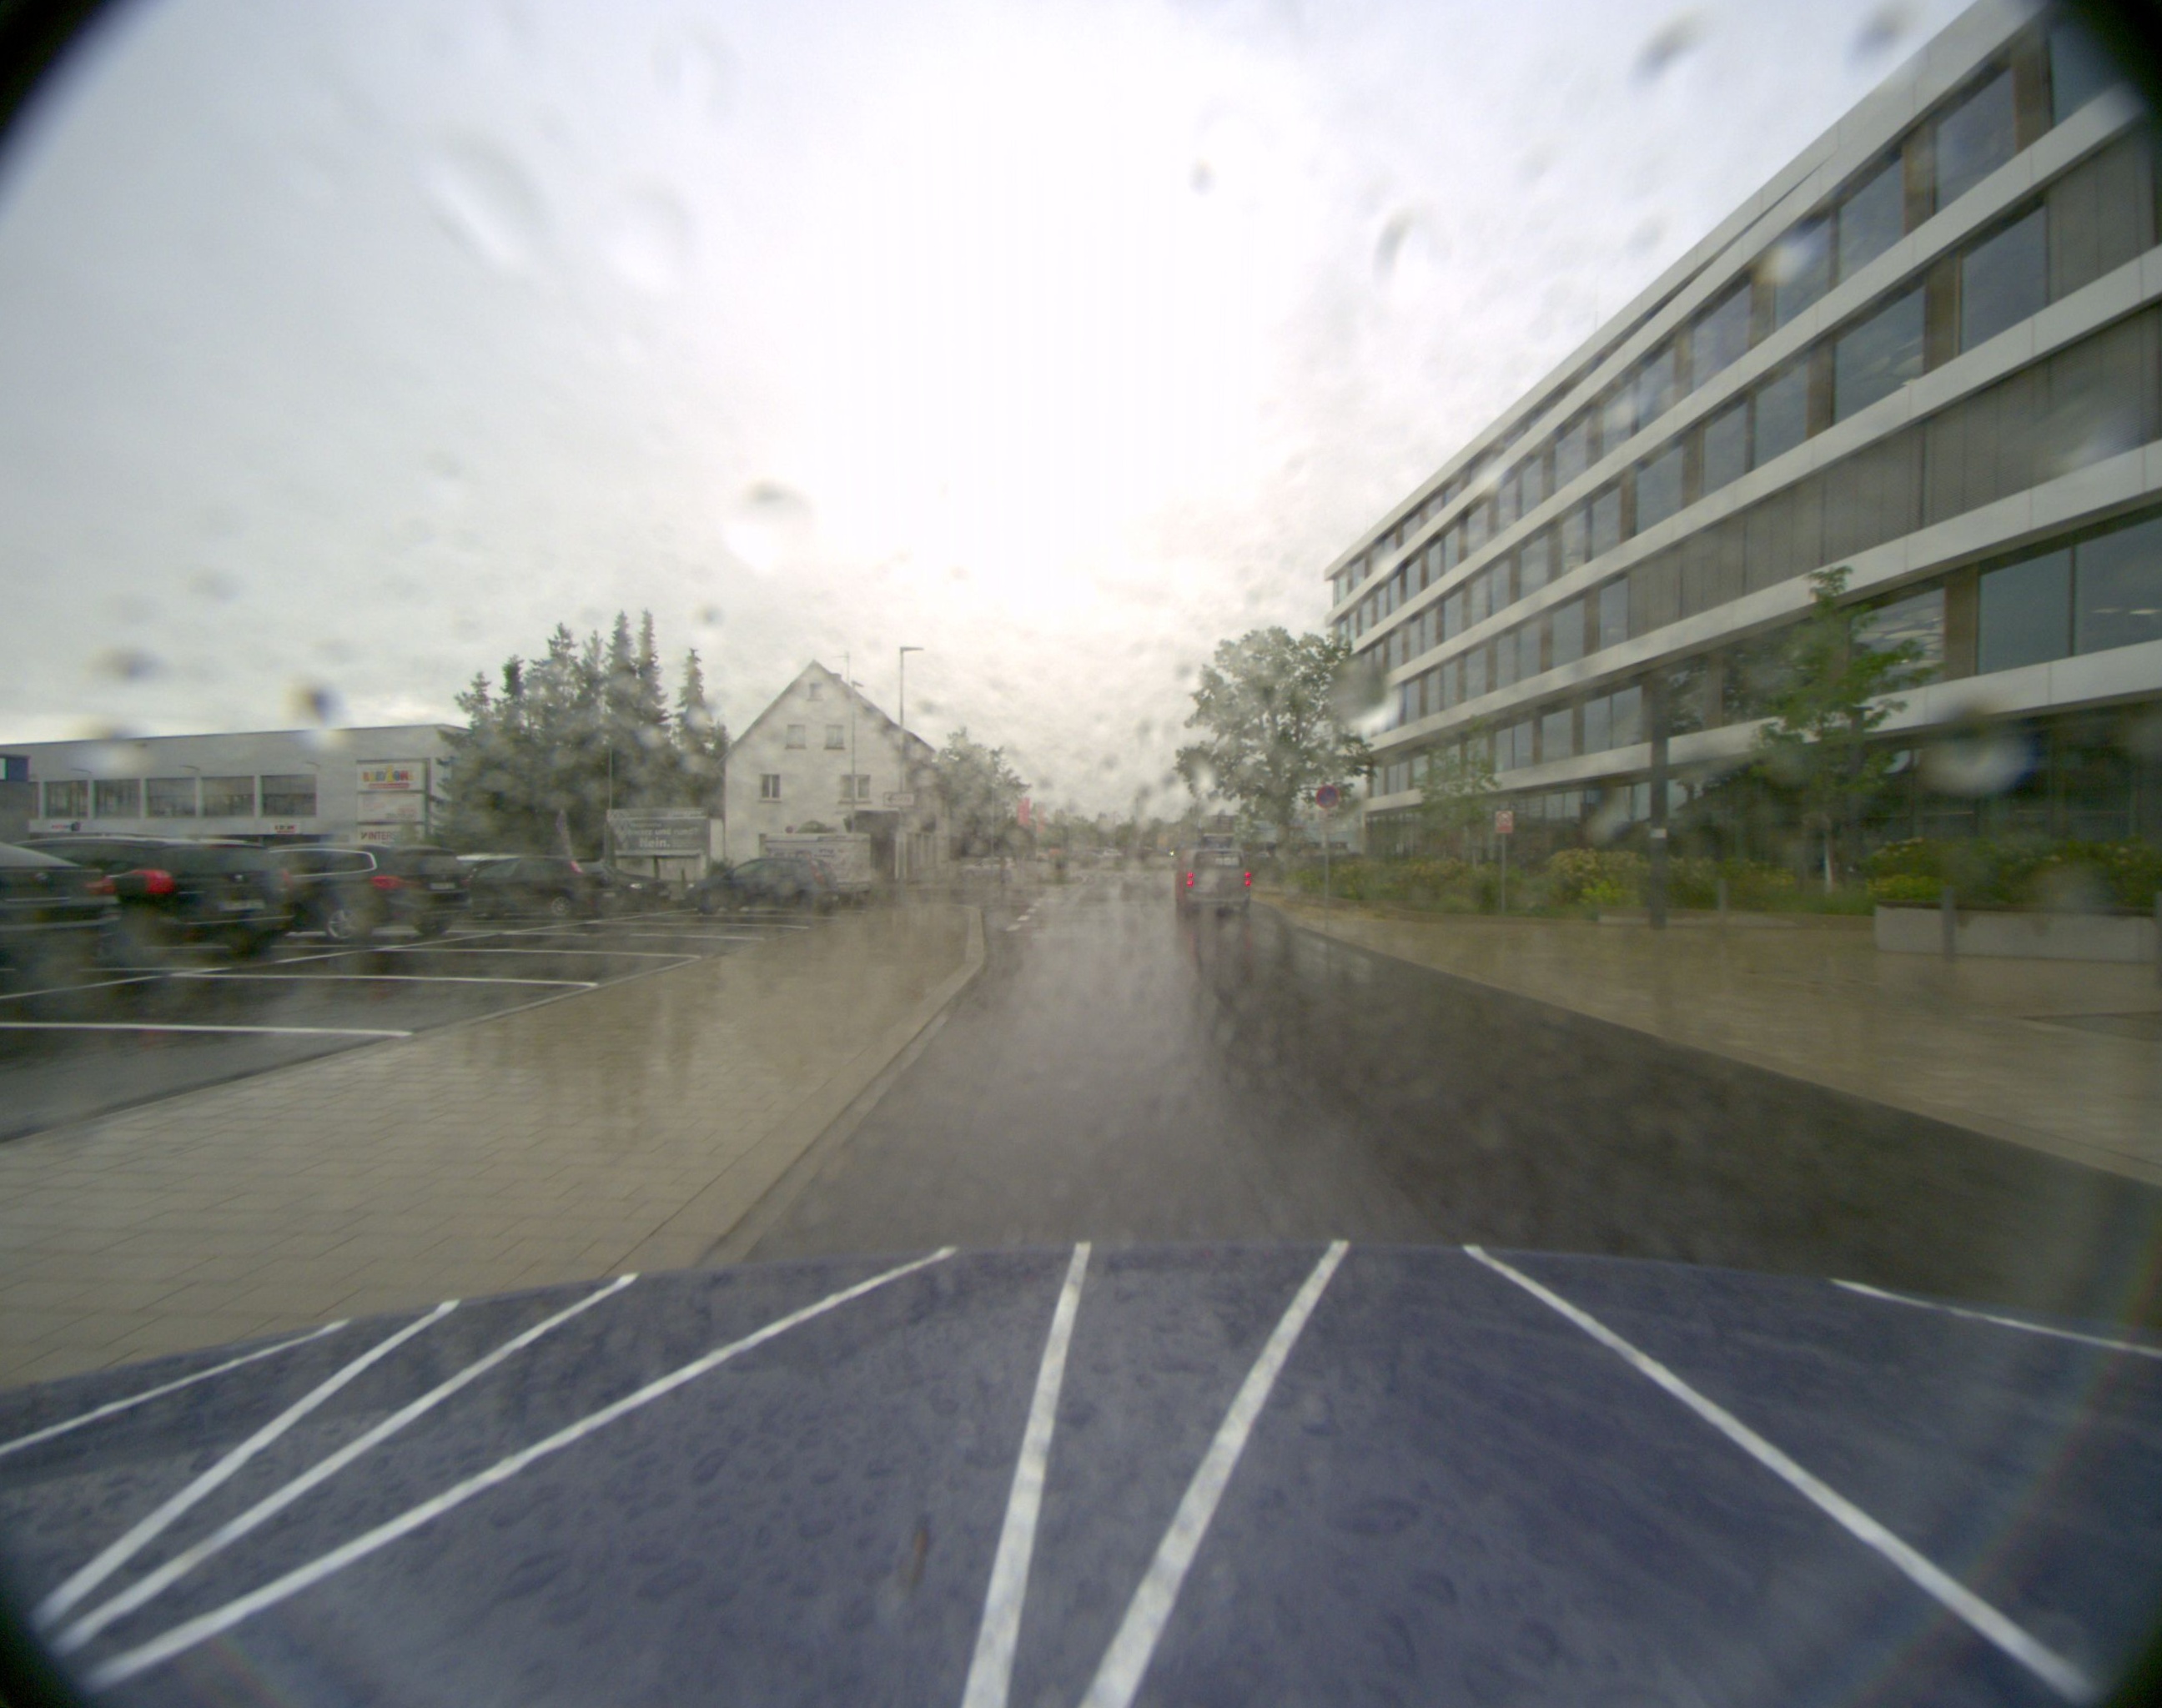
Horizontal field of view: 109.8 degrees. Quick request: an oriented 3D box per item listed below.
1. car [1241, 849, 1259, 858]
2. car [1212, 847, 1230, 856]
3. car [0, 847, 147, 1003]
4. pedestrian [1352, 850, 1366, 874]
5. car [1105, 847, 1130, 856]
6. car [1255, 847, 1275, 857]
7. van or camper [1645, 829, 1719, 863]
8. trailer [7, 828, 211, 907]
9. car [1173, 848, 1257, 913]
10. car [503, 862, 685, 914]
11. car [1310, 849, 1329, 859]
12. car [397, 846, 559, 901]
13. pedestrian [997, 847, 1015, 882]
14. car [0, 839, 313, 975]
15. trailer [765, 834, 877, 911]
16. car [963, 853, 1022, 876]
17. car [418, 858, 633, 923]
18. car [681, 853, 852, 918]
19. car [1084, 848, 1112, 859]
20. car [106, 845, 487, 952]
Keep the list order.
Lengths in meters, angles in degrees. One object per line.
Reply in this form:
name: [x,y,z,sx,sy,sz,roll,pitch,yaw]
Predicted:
car: [26.393,-0.101,118.901,1.883,1.288,4.006,-3,-1,25]
car: [24.288,-0.379,131.648,1.916,1.521,4.007,-2,-1,27]
car: [-12.938,0.691,7.788,4.366,1.550,1.840,0,0,-1]
pedestrian: [20.668,0.601,56.499,0.726,1.694,0.956,-4,2,4]
car: [6.407,-0.456,134.217,3.990,1.433,2.004,0,0,25]
car: [25.508,-0.271,105.387,1.883,1.288,4.006,-3,-1,25]
van or camper: [57.316,-0.753,72.602,5.090,3.070,2.003,-2,0,22]
trailer: [-38.853,0.512,30.443,5.878,2.720,2.938,-3,2,17]
car: [4.031,0.753,23.645,2.007,1.807,4.980,0,0,3]
car: [-12.886,0.869,20.281,3.736,1.307,1.692,0,0,-3]
car: [32.292,-0.038,102.765,1.883,1.288,4.006,-3,-1,25]
car: [-21.862,0.663,27.824,1.890,1.818,4.494,1,0,10]
pedestrian: [-4.362,0.596,44.122,0.861,2.002,1.195,2,0,-1]
car: [-13.404,0.641,10.221,4.366,1.649,1.786,0,0,1]
trailer: [-7.530,0.536,22.172,2.708,2.159,1.548,0,0,2]
car: [-6.594,0.746,56.371,4.144,1.571,1.997,2,0,-14]
car: [-12.894,0.825,17.823,3.736,1.440,1.730,0,0,-3]
car: [-8.087,0.790,19.726,3.735,1.520,1.650,1,1,0]
car: [2.775,-0.100,124.782,4.095,1.696,2.004,0,0,28]
car: [-12.864,0.693,12.709,4.367,1.642,1.844,0,0,-2]
